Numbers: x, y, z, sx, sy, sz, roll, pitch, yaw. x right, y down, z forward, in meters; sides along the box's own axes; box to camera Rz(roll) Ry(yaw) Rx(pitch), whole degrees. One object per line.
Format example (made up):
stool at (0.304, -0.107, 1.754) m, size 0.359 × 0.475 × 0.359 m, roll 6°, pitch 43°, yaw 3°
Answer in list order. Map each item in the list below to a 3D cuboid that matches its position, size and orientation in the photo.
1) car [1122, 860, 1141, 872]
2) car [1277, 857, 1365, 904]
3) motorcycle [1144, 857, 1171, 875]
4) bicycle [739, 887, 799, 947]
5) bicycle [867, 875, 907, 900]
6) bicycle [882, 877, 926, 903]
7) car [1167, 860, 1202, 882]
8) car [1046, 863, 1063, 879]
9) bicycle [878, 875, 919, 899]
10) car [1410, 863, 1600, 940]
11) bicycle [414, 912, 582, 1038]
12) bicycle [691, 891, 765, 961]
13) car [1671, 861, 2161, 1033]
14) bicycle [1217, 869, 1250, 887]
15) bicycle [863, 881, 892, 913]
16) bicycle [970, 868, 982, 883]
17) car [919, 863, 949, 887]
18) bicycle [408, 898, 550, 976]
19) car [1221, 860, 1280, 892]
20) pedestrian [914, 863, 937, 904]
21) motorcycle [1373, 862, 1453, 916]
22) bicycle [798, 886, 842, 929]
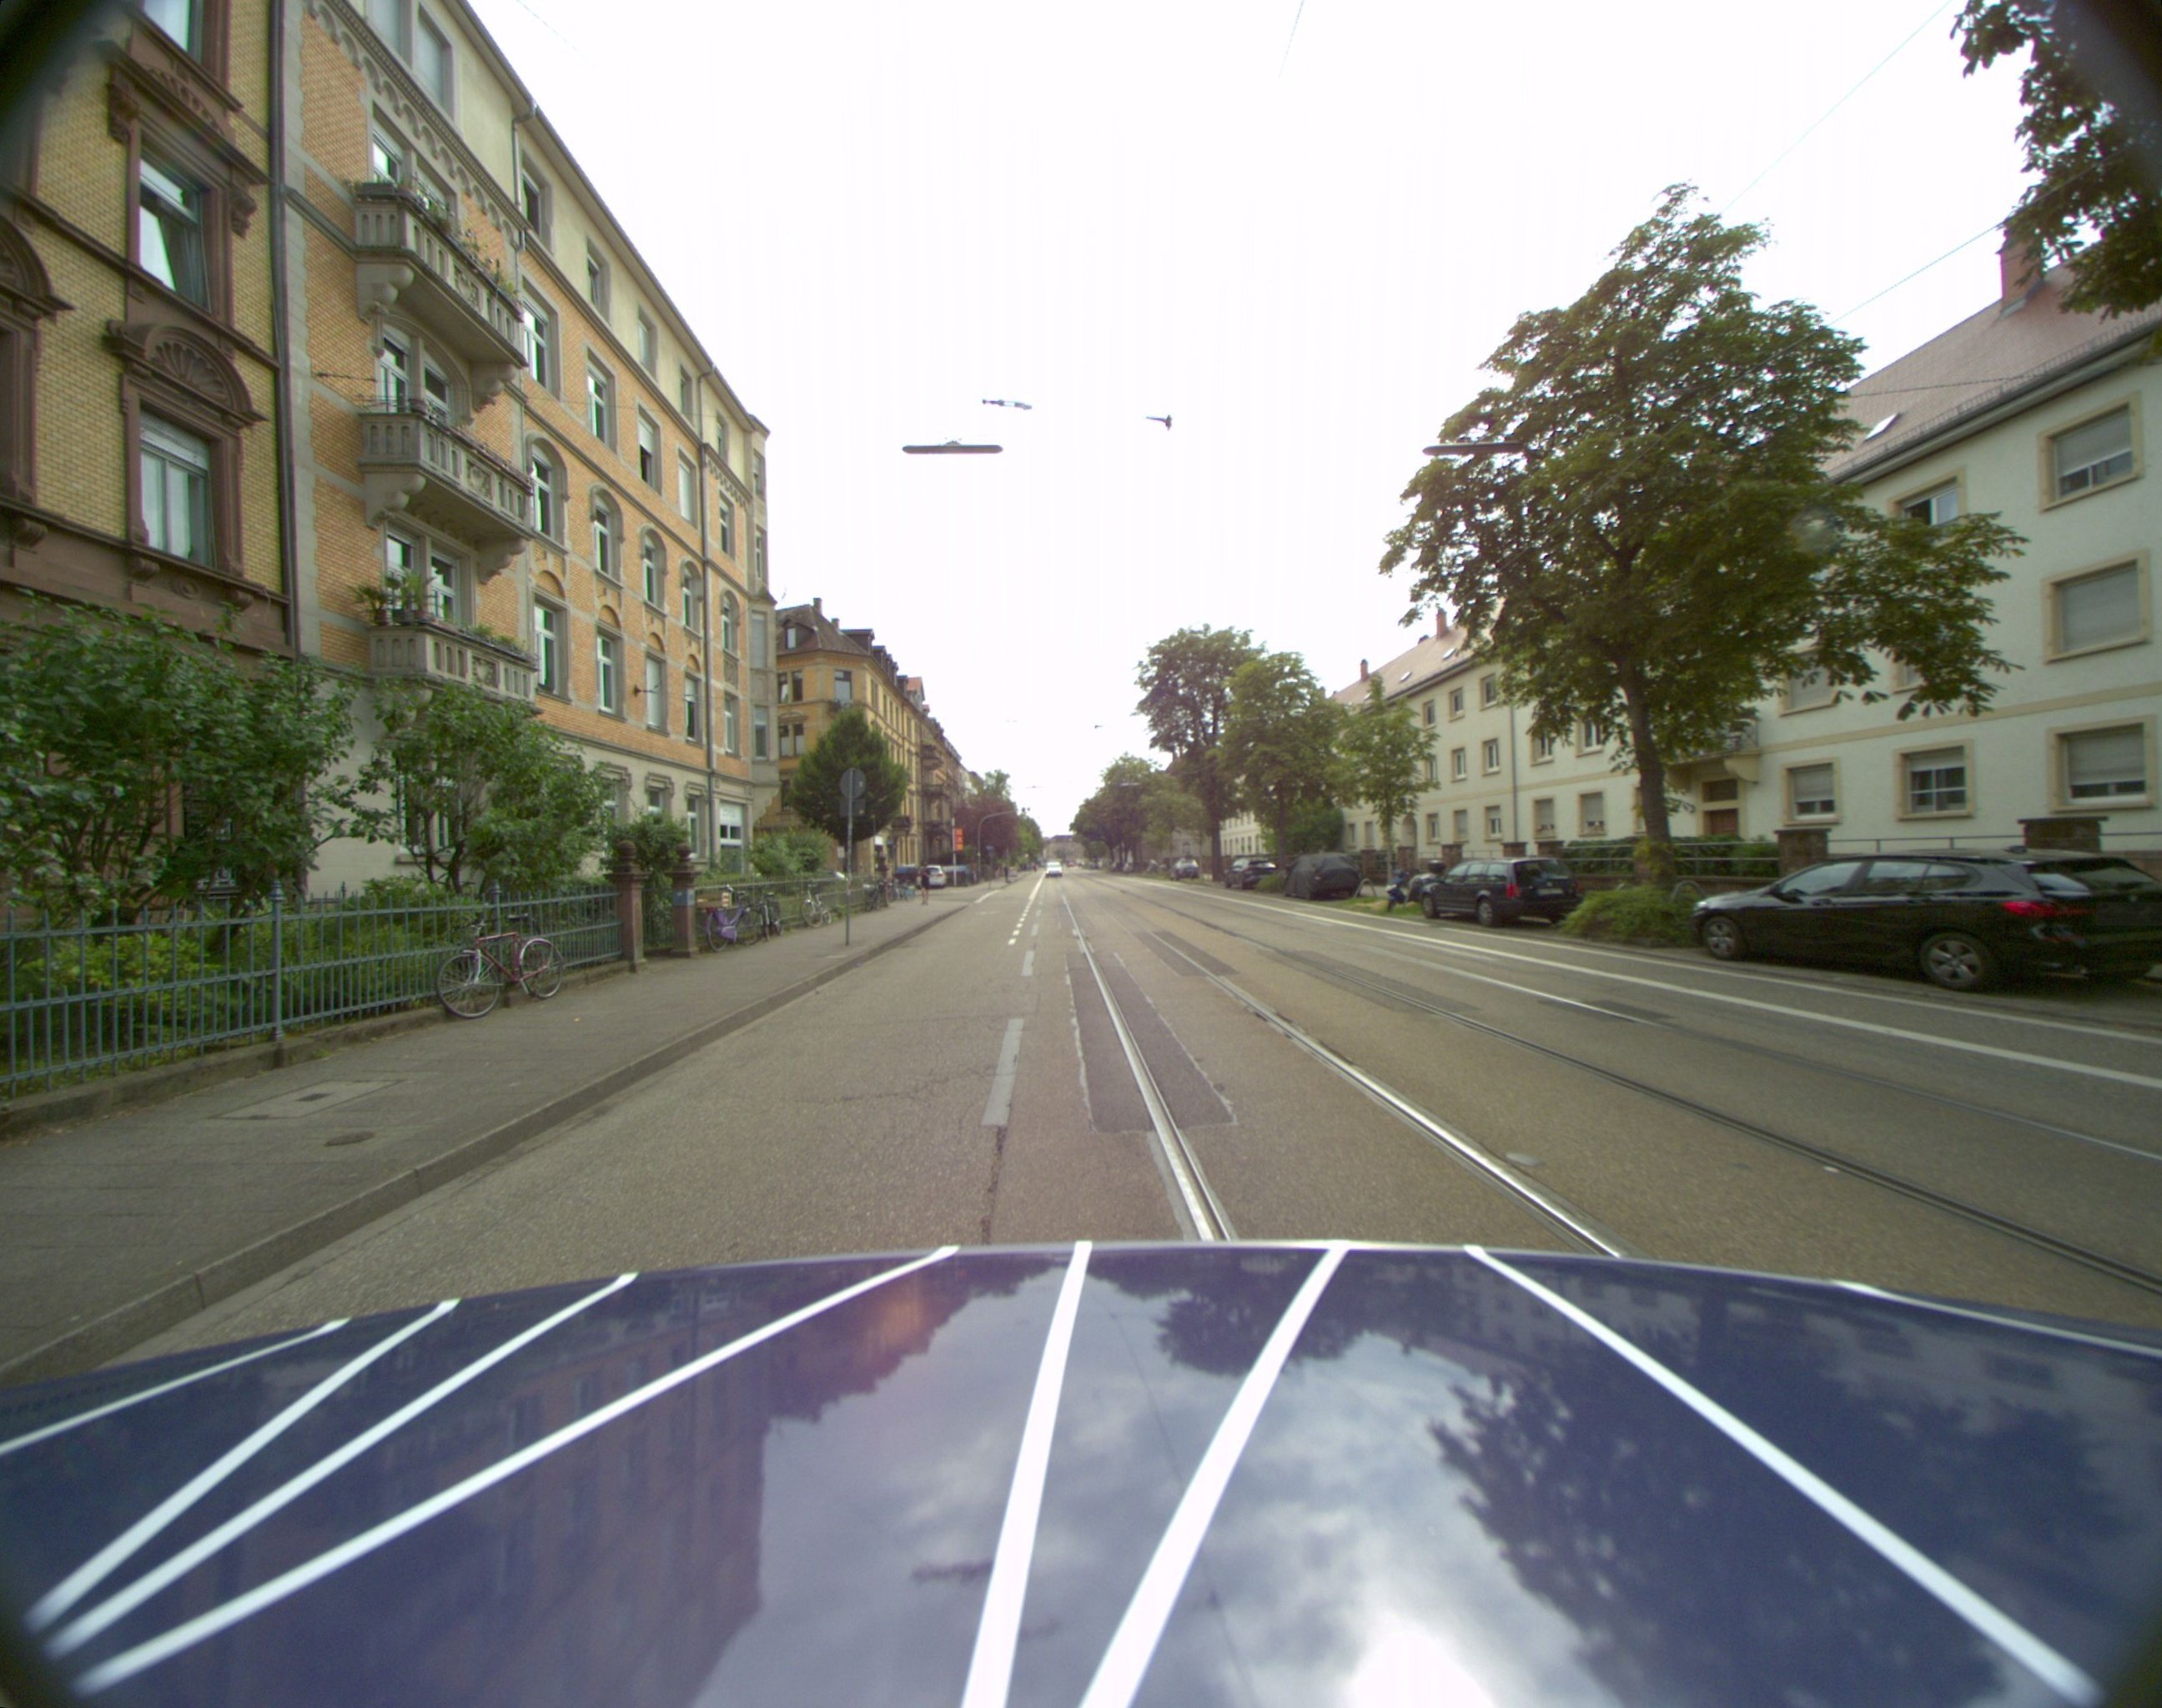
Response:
car at (6.300, 1.449, 94.457) m, size 1.732 × 1.462 × 4.298 m, roll -2°, pitch 0°, yaw -4°
car at (8.908, 0.932, 28.565) m, size 1.790 × 1.602 × 4.299 m, roll -2°, pitch 0°, yaw -2°
motorcycle at (7.336, 1.145, 72.749) m, size 2.312 × 1.382 × 0.838 m, roll -7°, pitch 1°, yaw 30°
bicycle at (-6.400, 1.262, 15.652) m, size 0.580 × 1.105 × 1.672 m, roll 2°, pitch 0°, yaw -3°
bicycle at (-9.377, 1.626, 36.750) m, size 1.889 × 1.121 × 0.533 m, roll -2°, pitch 0°, yaw 19°
bicycle at (-8.055, 1.636, 34.612) m, size 0.629 × 1.106 × 1.878 m, roll -2°, pitch 0°, yaw 41°
car at (7.723, 1.245, 57.022) m, size 1.701 × 1.462 × 4.298 m, roll -2°, pitch 0°, yaw -4°
car at (-2.984, 1.937, 86.816) m, size 1.876 × 1.670 × 5.130 m, roll -2°, pitch 0°, yaw -1°
bicycle at (-9.088, 1.656, 37.819) m, size 1.890 × 1.121 × 0.533 m, roll -2°, pitch 0°, yaw 15°
car at (9.307, 0.961, 17.151) m, size 1.701 × 1.415 × 4.299 m, roll -3°, pitch 0°, yaw -2°
bicycle at (-6.290, 1.257, 8.320) m, size 0.580 × 1.105 × 1.671 m, roll -2°, pitch 0°, yaw -3°
bicycle at (-6.316, 1.263, 13.680) m, size 0.580 × 1.105 × 1.672 m, roll 2°, pitch 0°, yaw -3°
car at (9.682, 0.863, 9.090) m, size 1.701 × 1.415 × 4.299 m, roll -5°, pitch 0°, yaw -2°
bicycle at (8.524, 1.332, 42.547) m, size 1.672 × 0.965 × 0.672 m, roll -2°, pitch 0°, yaw -11°
bicycle at (-6.723, 1.402, 25.171) m, size 0.580 × 0.977 × 1.672 m, roll 2°, pitch 0°, yaw -3°
bicycle at (-8.013, 1.656, 57.993) m, size 0.630 × 1.106 × 1.874 m, roll -2°, pitch 0°, yaw -1°
car at (-10.033, 1.427, 52.109) m, size 1.757 × 1.516 × 3.997 m, roll -2°, pitch 0°, yaw -7°
bicycle at (-9.444, 1.289, 11.958) m, size 1.671 × 1.105 × 0.611 m, roll -1°, pitch 0°, yaw -4°
car at (8.390, 1.073, 37.950) m, size 1.701 × 1.462 × 4.298 m, roll -2°, pitch 0°, yaw -4°
pedestrian at (-6.291, 1.192, 30.765) m, size 0.732 × 1.614 × 0.835 m, roll -2°, pitch 0°, yaw -2°
motorcycle at (9.193, 0.955, 21.046) m, size 1.871 × 1.253 × 0.591 m, roll -7°, pitch 1°, yaw -6°
bicycle at (-6.591, 1.337, 19.282) m, size 0.580 × 0.977 × 1.672 m, roll 2°, pitch 0°, yaw -3°
